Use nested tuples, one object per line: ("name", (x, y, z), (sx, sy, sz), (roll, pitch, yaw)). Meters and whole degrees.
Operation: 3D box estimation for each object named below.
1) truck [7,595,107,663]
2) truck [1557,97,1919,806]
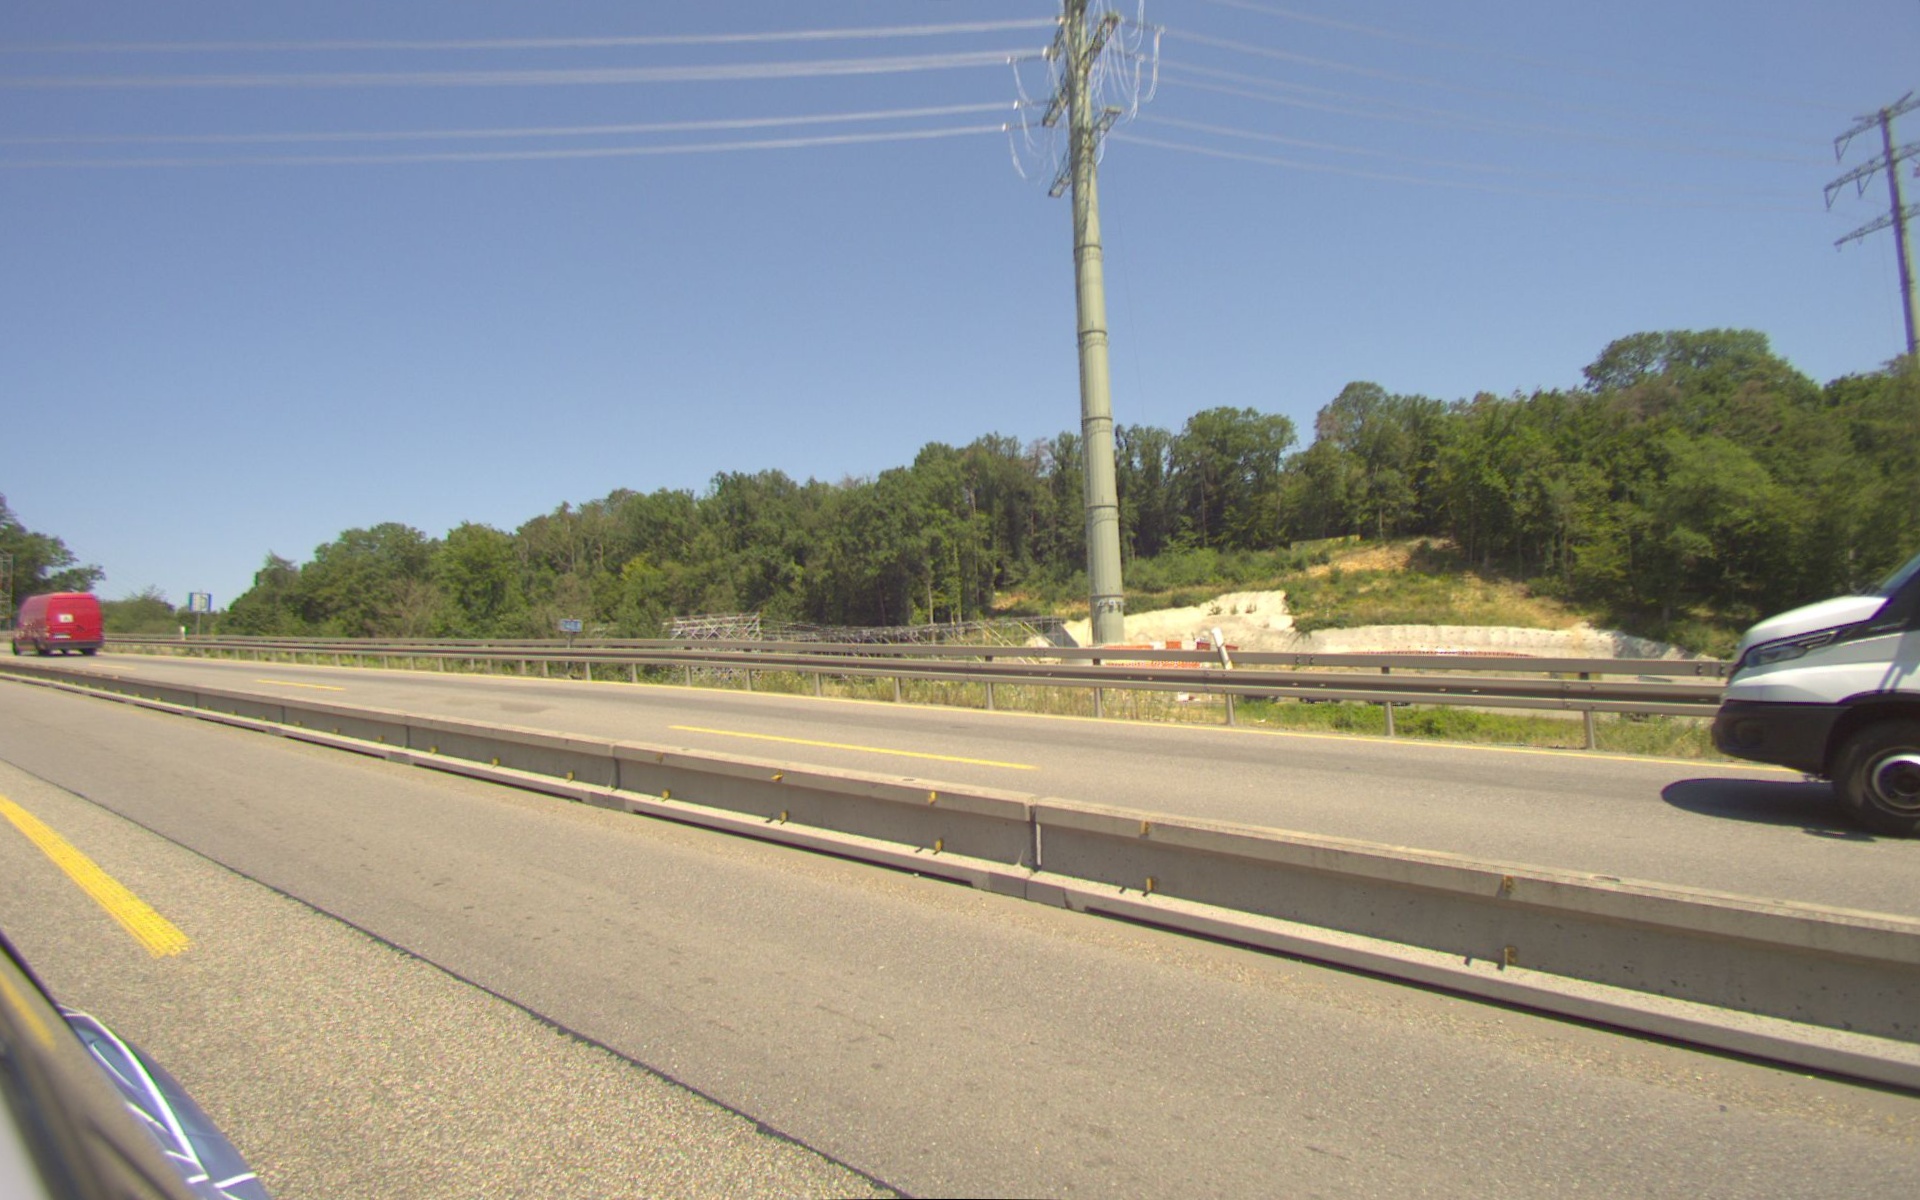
("truck", (-40.570, 1.249, 45.423), (6.489, 2.885, 2.184), (-1, 0, 38))
("truck", (8.959, -0.887, 4.466), (10.550, 4.030, 2.771), (-1, 0, 42))
